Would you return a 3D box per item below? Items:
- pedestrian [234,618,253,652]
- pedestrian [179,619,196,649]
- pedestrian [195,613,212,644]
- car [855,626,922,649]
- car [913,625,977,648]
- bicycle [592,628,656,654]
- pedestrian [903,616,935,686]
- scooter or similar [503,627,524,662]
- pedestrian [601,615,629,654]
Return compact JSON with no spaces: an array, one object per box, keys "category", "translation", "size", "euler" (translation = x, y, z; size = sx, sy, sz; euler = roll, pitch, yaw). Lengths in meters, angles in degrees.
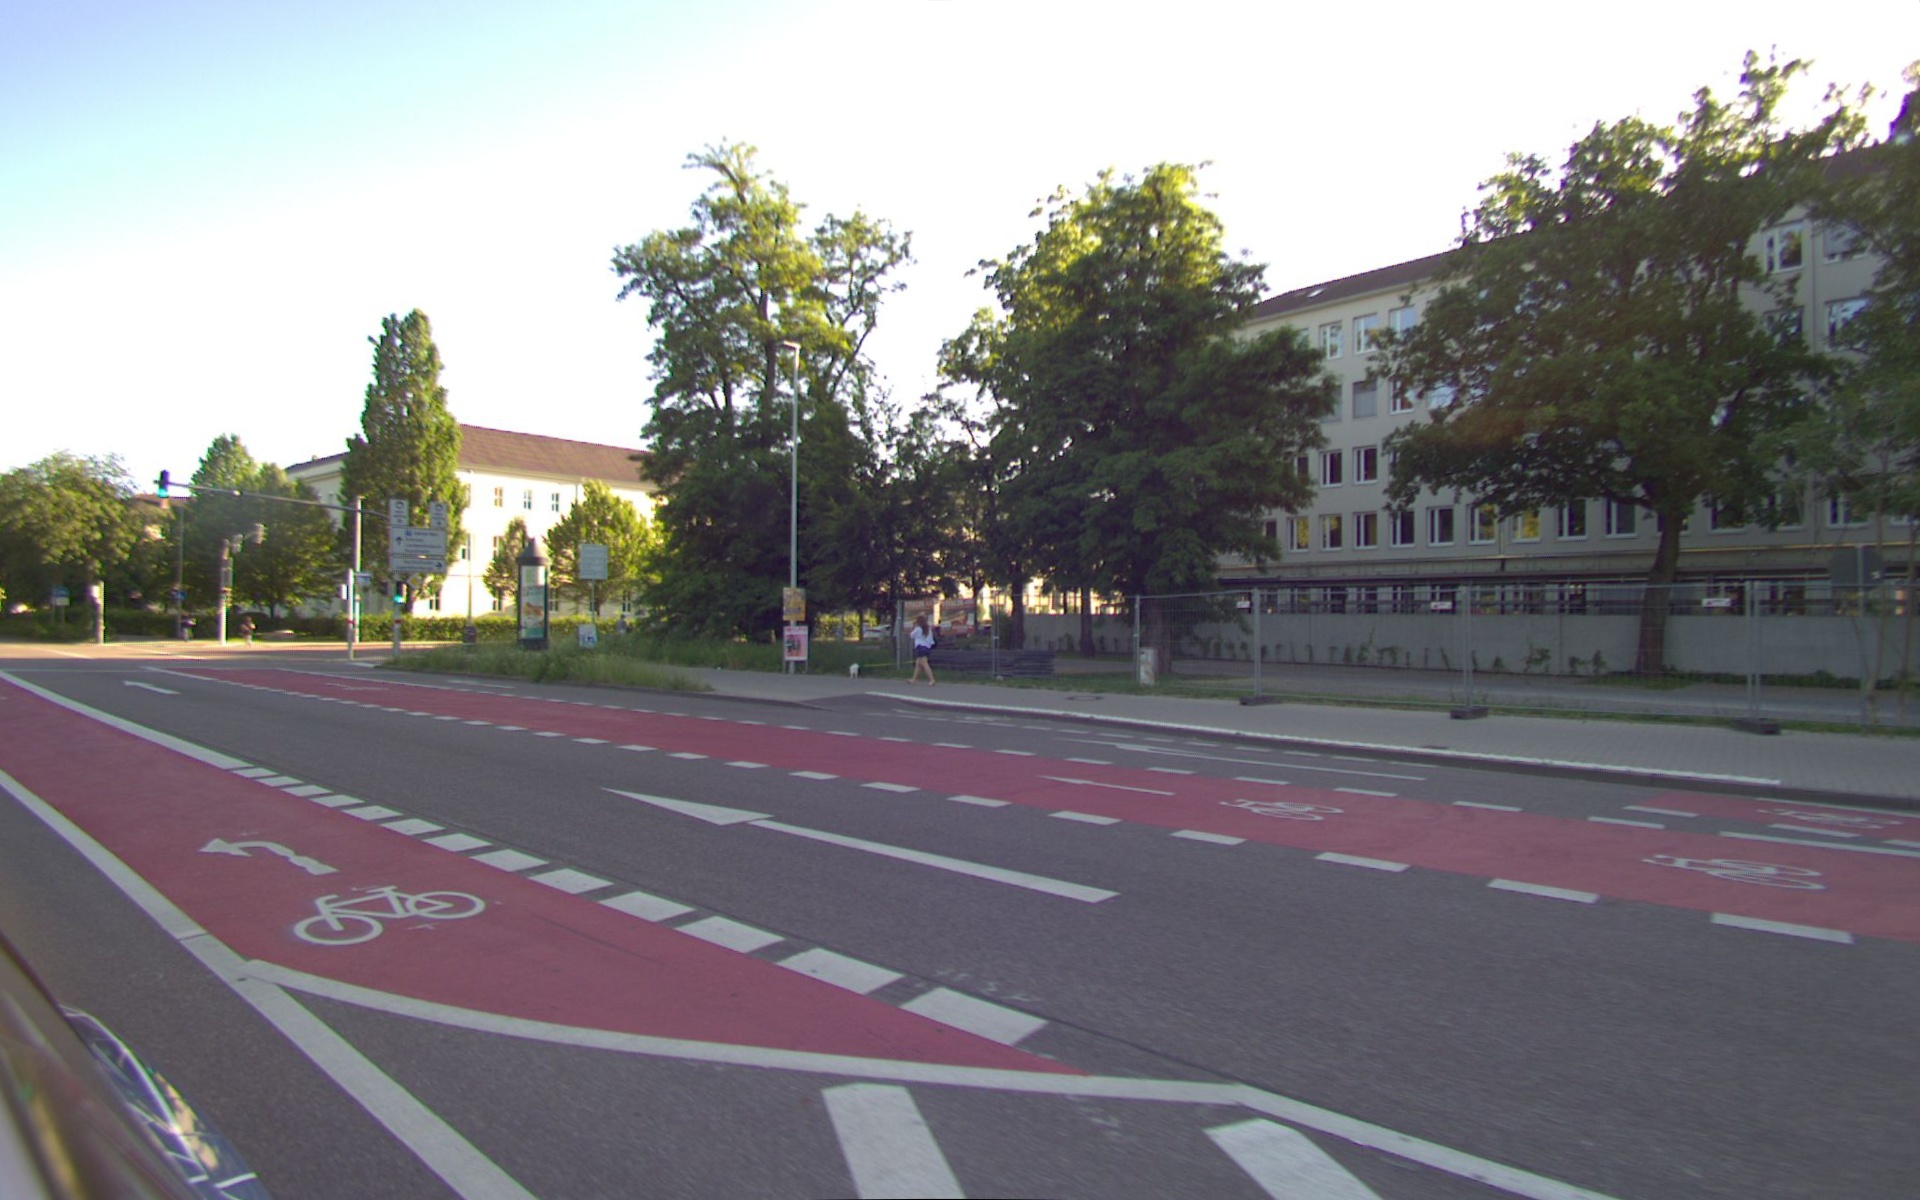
[{"category":"pedestrian","translation":[-38.624,1.890,54.537],"size":[0.734,1.830,0.727],"euler":[2,-2,-43]},{"category":"pedestrian","translation":[-43.949,1.941,57.608],"size":[0.681,1.694,0.681],"euler":[2,-2,-43]},{"category":"pedestrian","translation":[-45.393,1.729,60.721],"size":[0.681,1.830,0.681],"euler":[2,-2,-43]},{"category":"car","translation":[-4.796,2.518,68.445],"size":[4.195,1.551,2.071],"euler":[2,-2,-44]},{"category":"car","translation":[-1.036,2.608,72.484],"size":[4.195,1.551,2.239],"euler":[2,-2,-44]},{"category":"bicycle","translation":[-14.826,1.798,44.726],"size":[0.980,1.144,2.542],"euler":[-1,-2,43]},{"category":"pedestrian","translation":[-0.916,1.140,22.652],"size":[0.570,1.545,0.447],"euler":[-1,-2,35]},{"category":"scooter or similar","translation":[-17.058,1.670,38.674],"size":[0.683,1.304,1.501],"euler":[1,-2,-22]},{"category":"pedestrian","translation":[-15.300,1.517,44.889],"size":[0.643,1.709,0.966],"euler":[-1,-2,43]}]
